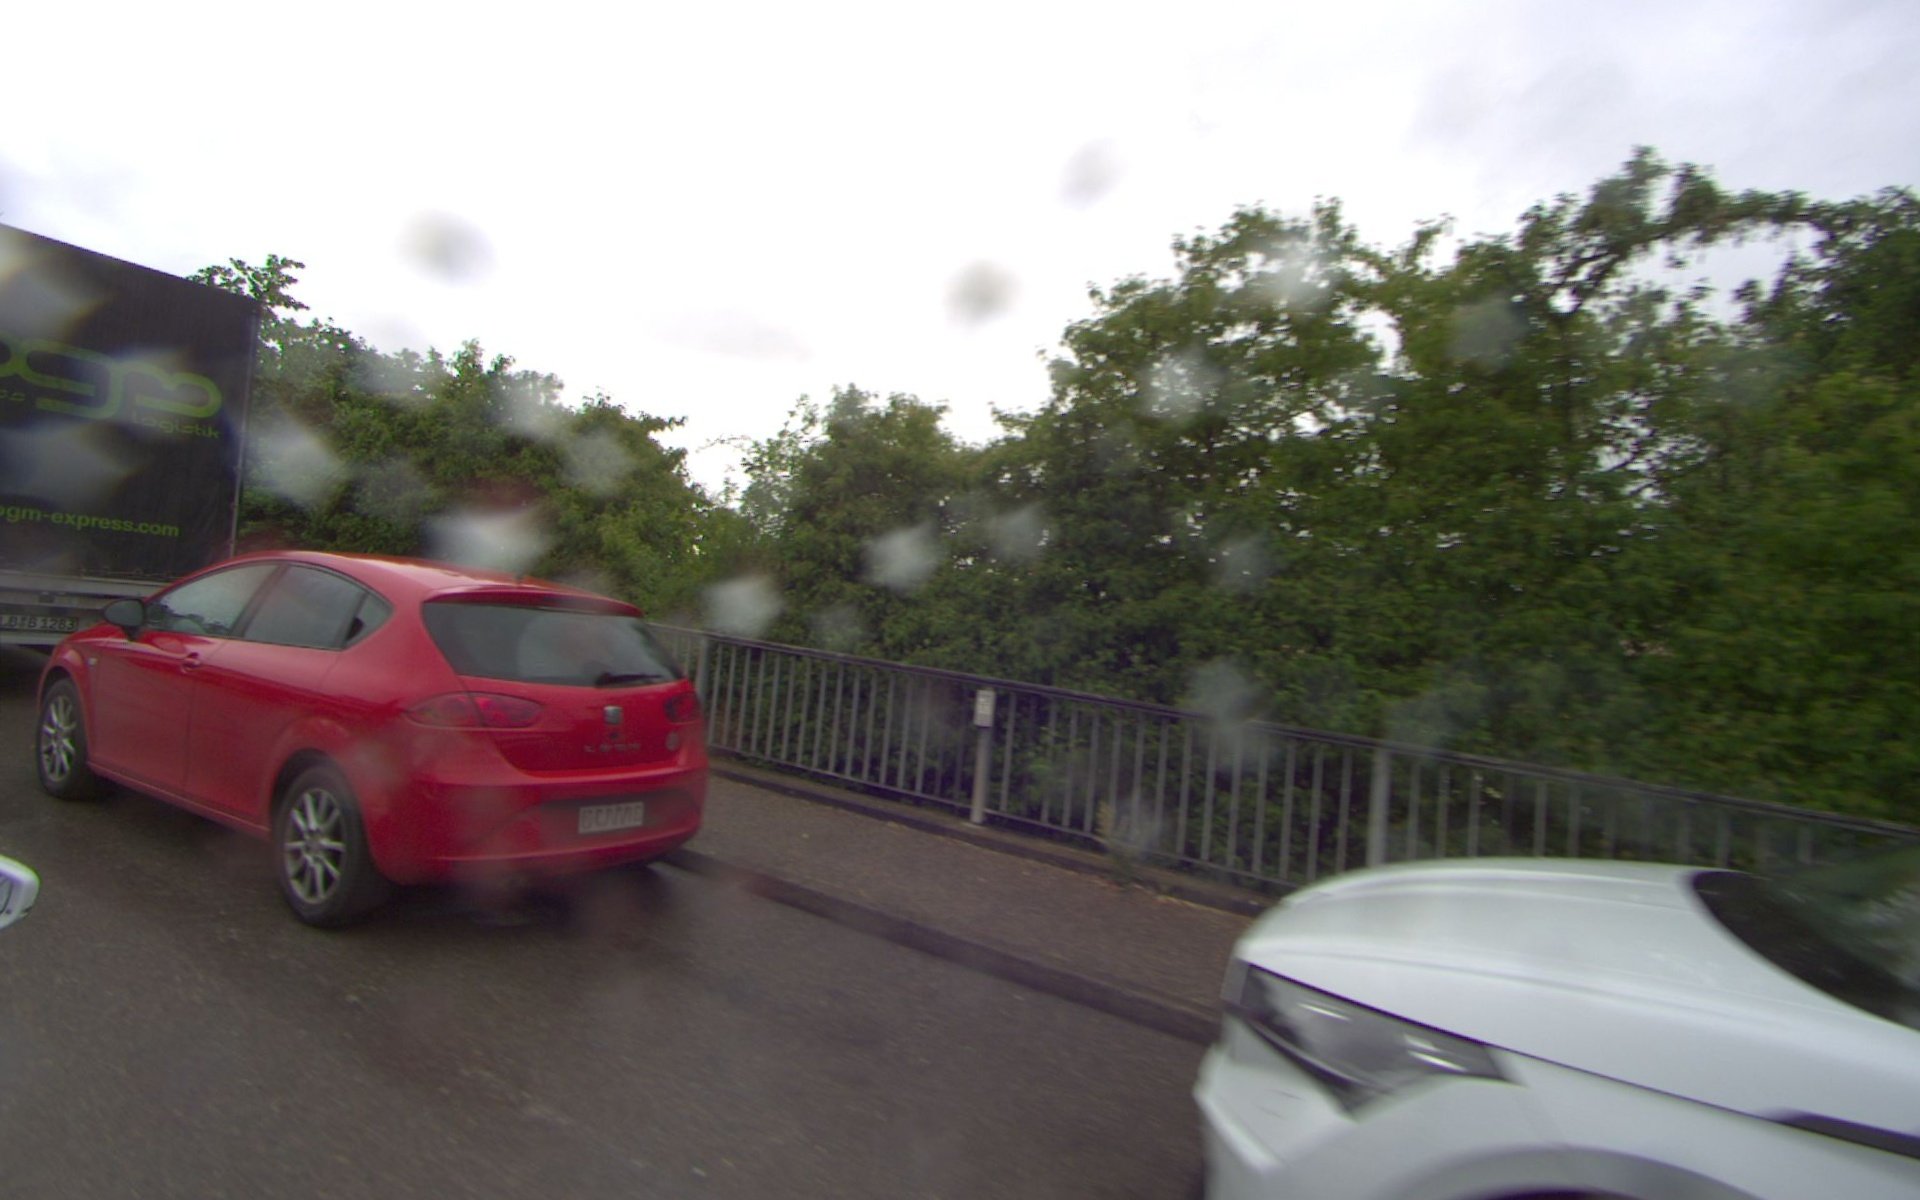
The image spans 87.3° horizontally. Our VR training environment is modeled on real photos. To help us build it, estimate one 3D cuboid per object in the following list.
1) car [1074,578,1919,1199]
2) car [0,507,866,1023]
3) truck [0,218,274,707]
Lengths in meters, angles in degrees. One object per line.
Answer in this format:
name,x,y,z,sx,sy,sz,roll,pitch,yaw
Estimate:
car,2.641,1.050,1.428,4.589,1.623,1.762,6,-1,31
car,-3.078,0.489,5.279,4.903,1.455,1.835,6,-1,31
truck,-9.823,-1.248,9.377,7.833,3.375,2.440,6,-1,32
